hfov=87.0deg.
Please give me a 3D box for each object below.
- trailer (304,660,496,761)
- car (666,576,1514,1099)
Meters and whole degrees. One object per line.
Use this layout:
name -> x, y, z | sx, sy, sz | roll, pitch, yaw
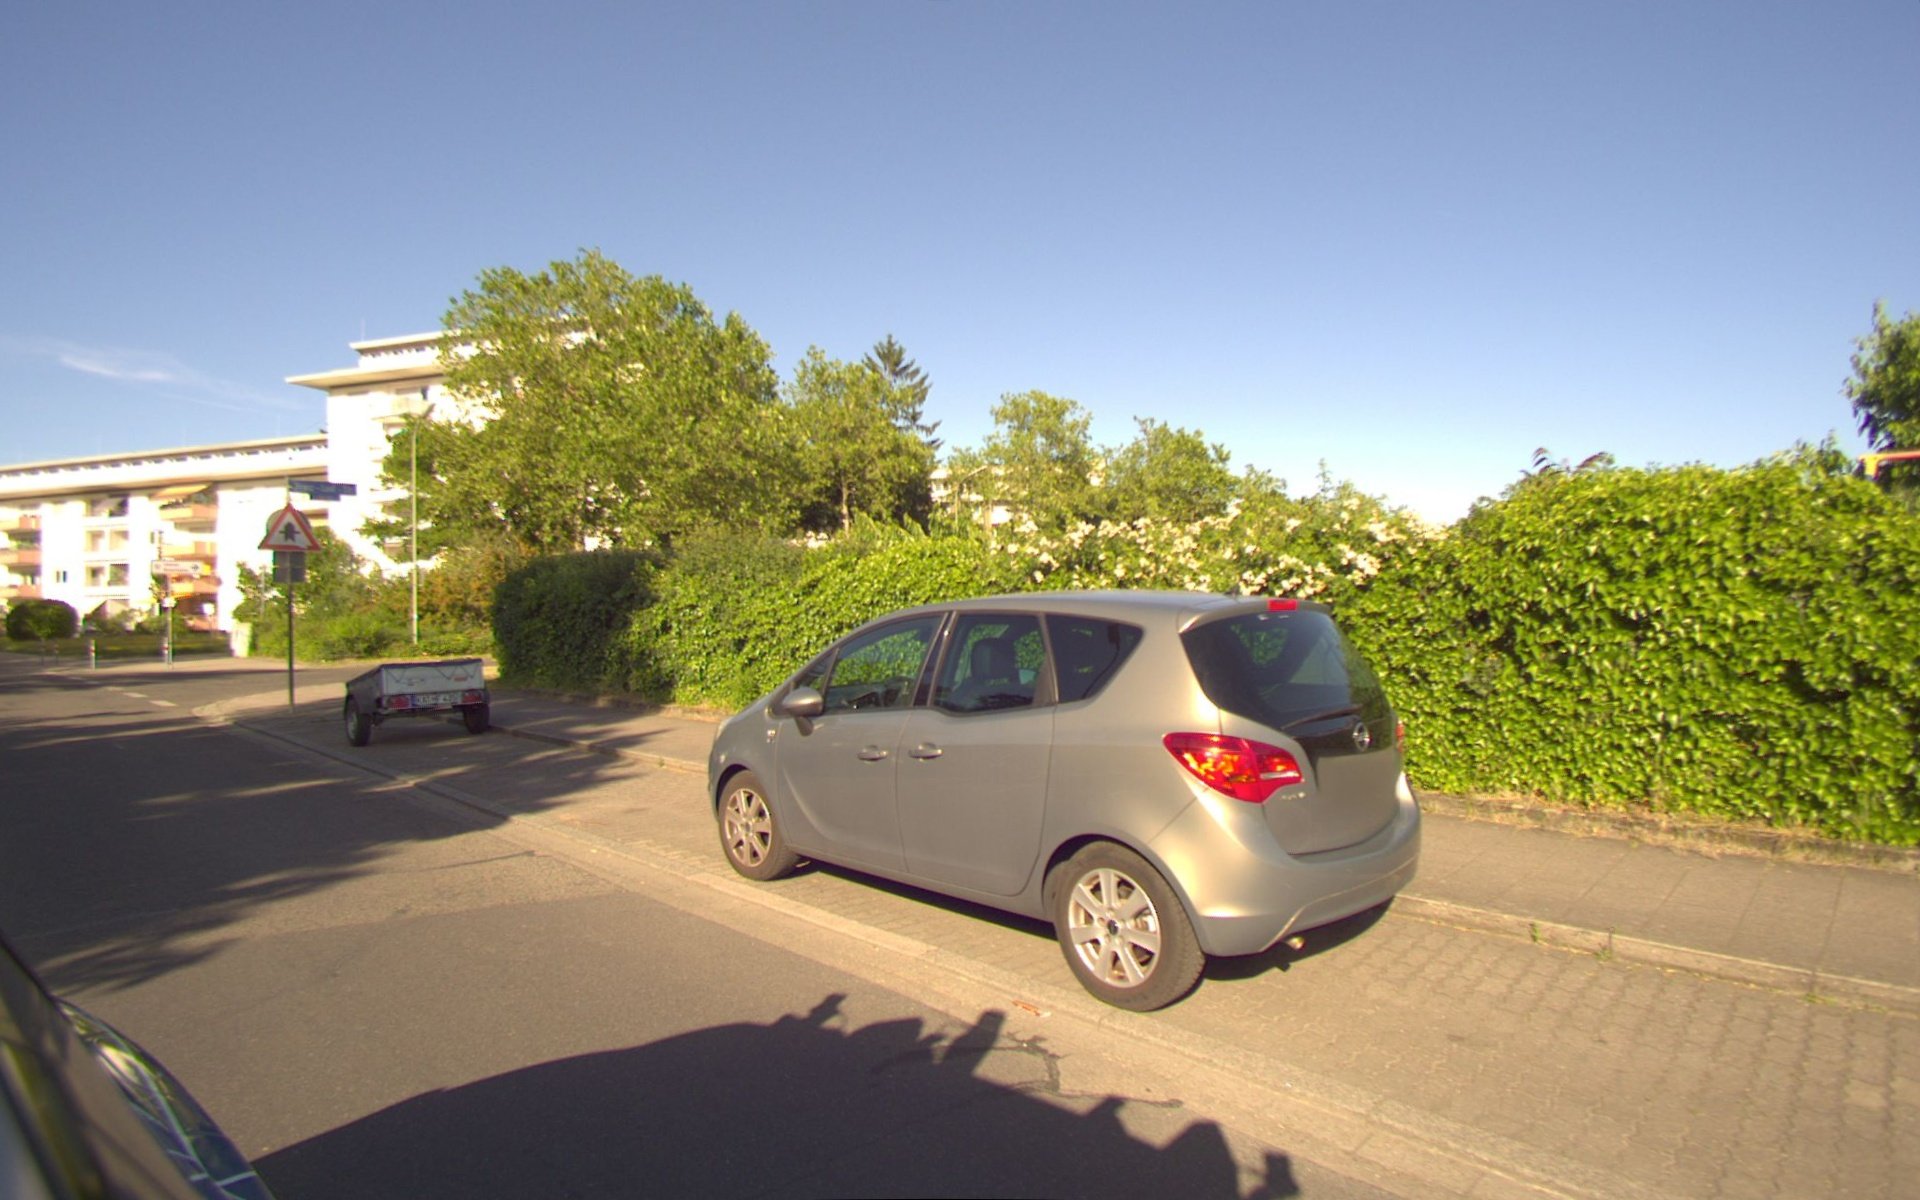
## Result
trailer -> -7.113, 1.325, 12.783 | 1.526, 0.960, 2.650 | -2, 0, -43
car -> 0.250, 0.772, 5.278 | 1.624, 1.612, 4.315 | -2, 0, -43
